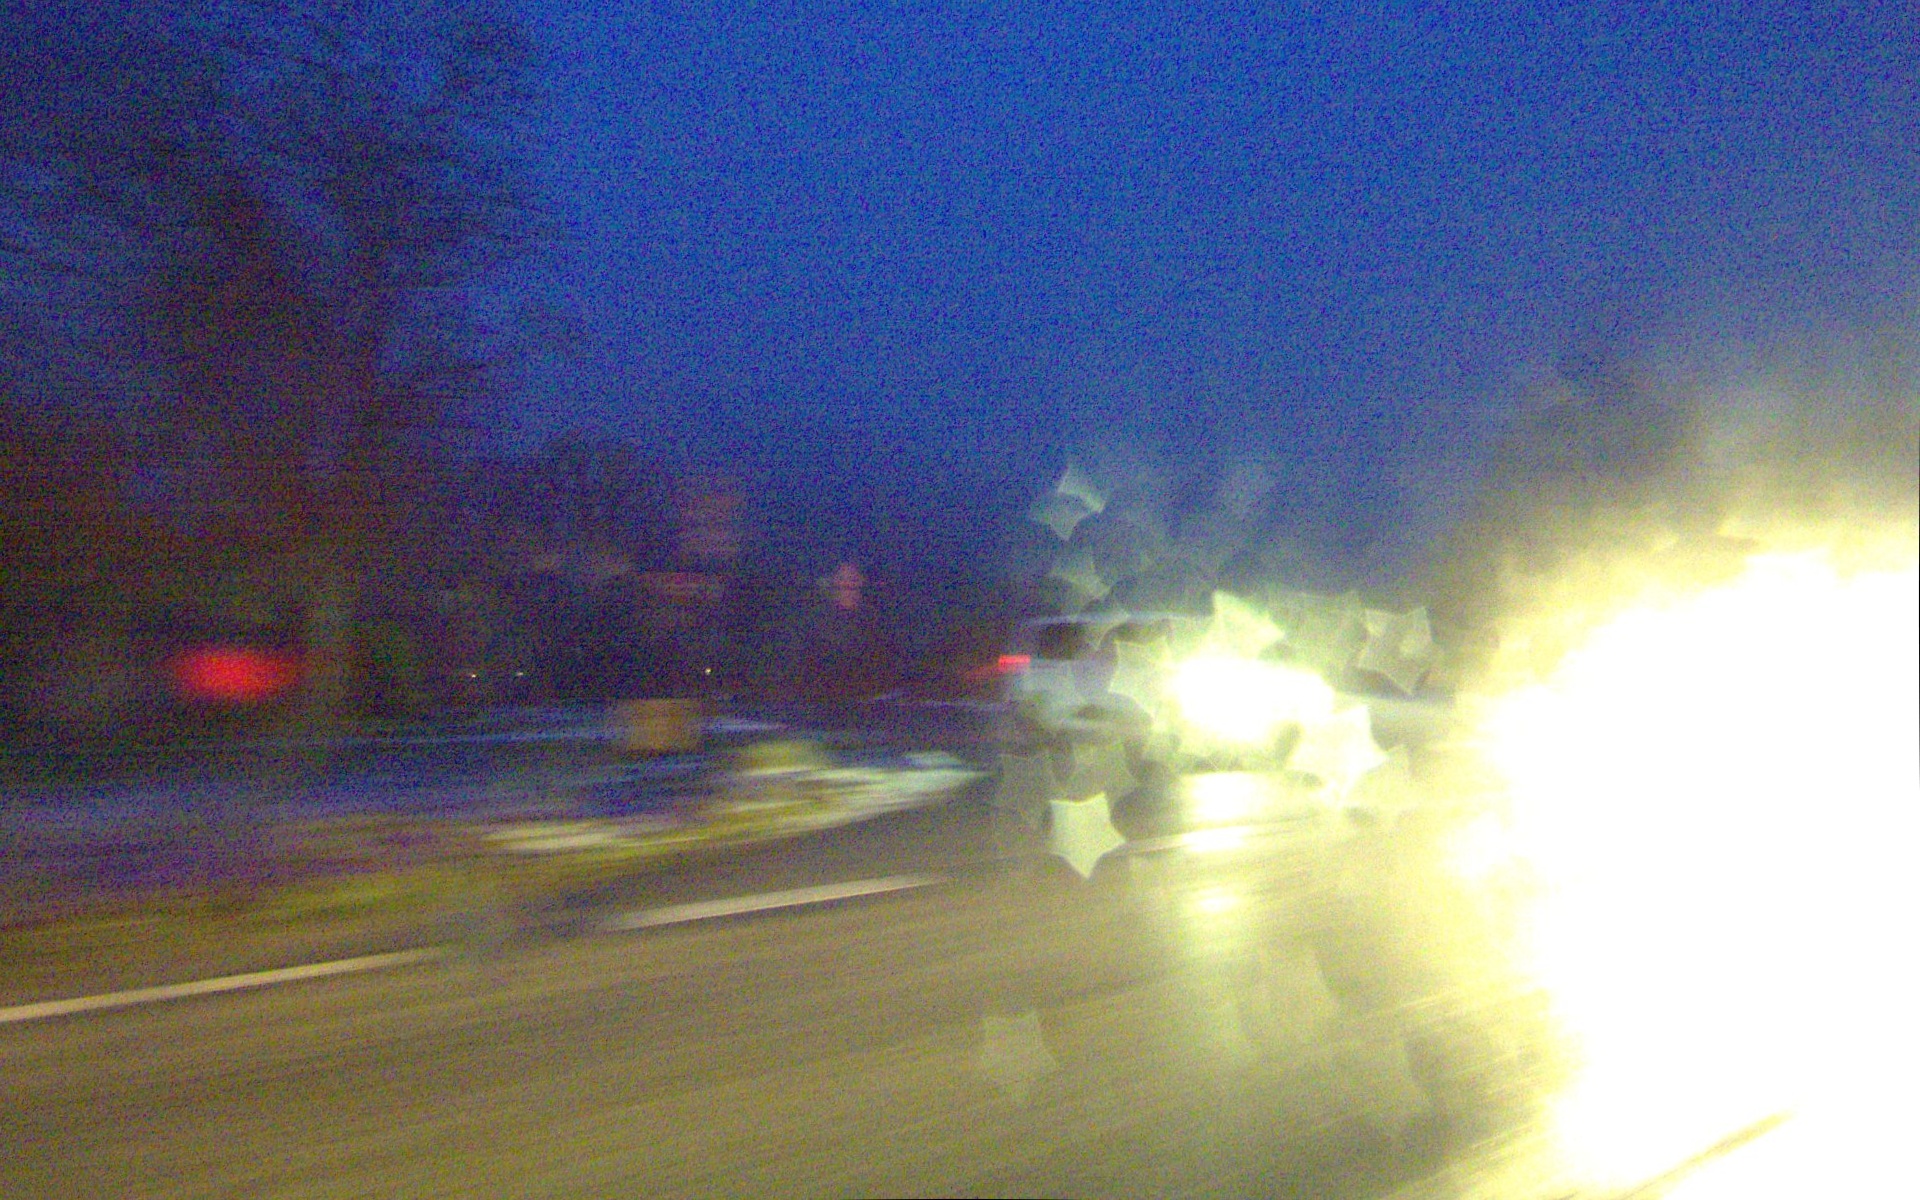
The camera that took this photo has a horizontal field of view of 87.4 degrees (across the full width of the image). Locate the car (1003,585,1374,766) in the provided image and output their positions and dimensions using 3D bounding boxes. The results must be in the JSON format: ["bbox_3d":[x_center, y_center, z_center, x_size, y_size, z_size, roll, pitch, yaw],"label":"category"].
[{"bbox_3d":[2.633,0.883,12.976,1.910,1.862,4.913,1,-3,-29],"label":"car"}]

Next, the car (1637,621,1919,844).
[{"bbox_3d":[7.292,0.935,8.206,3.511,1.443,1.590,2,-1,-31],"label":"car"}]
